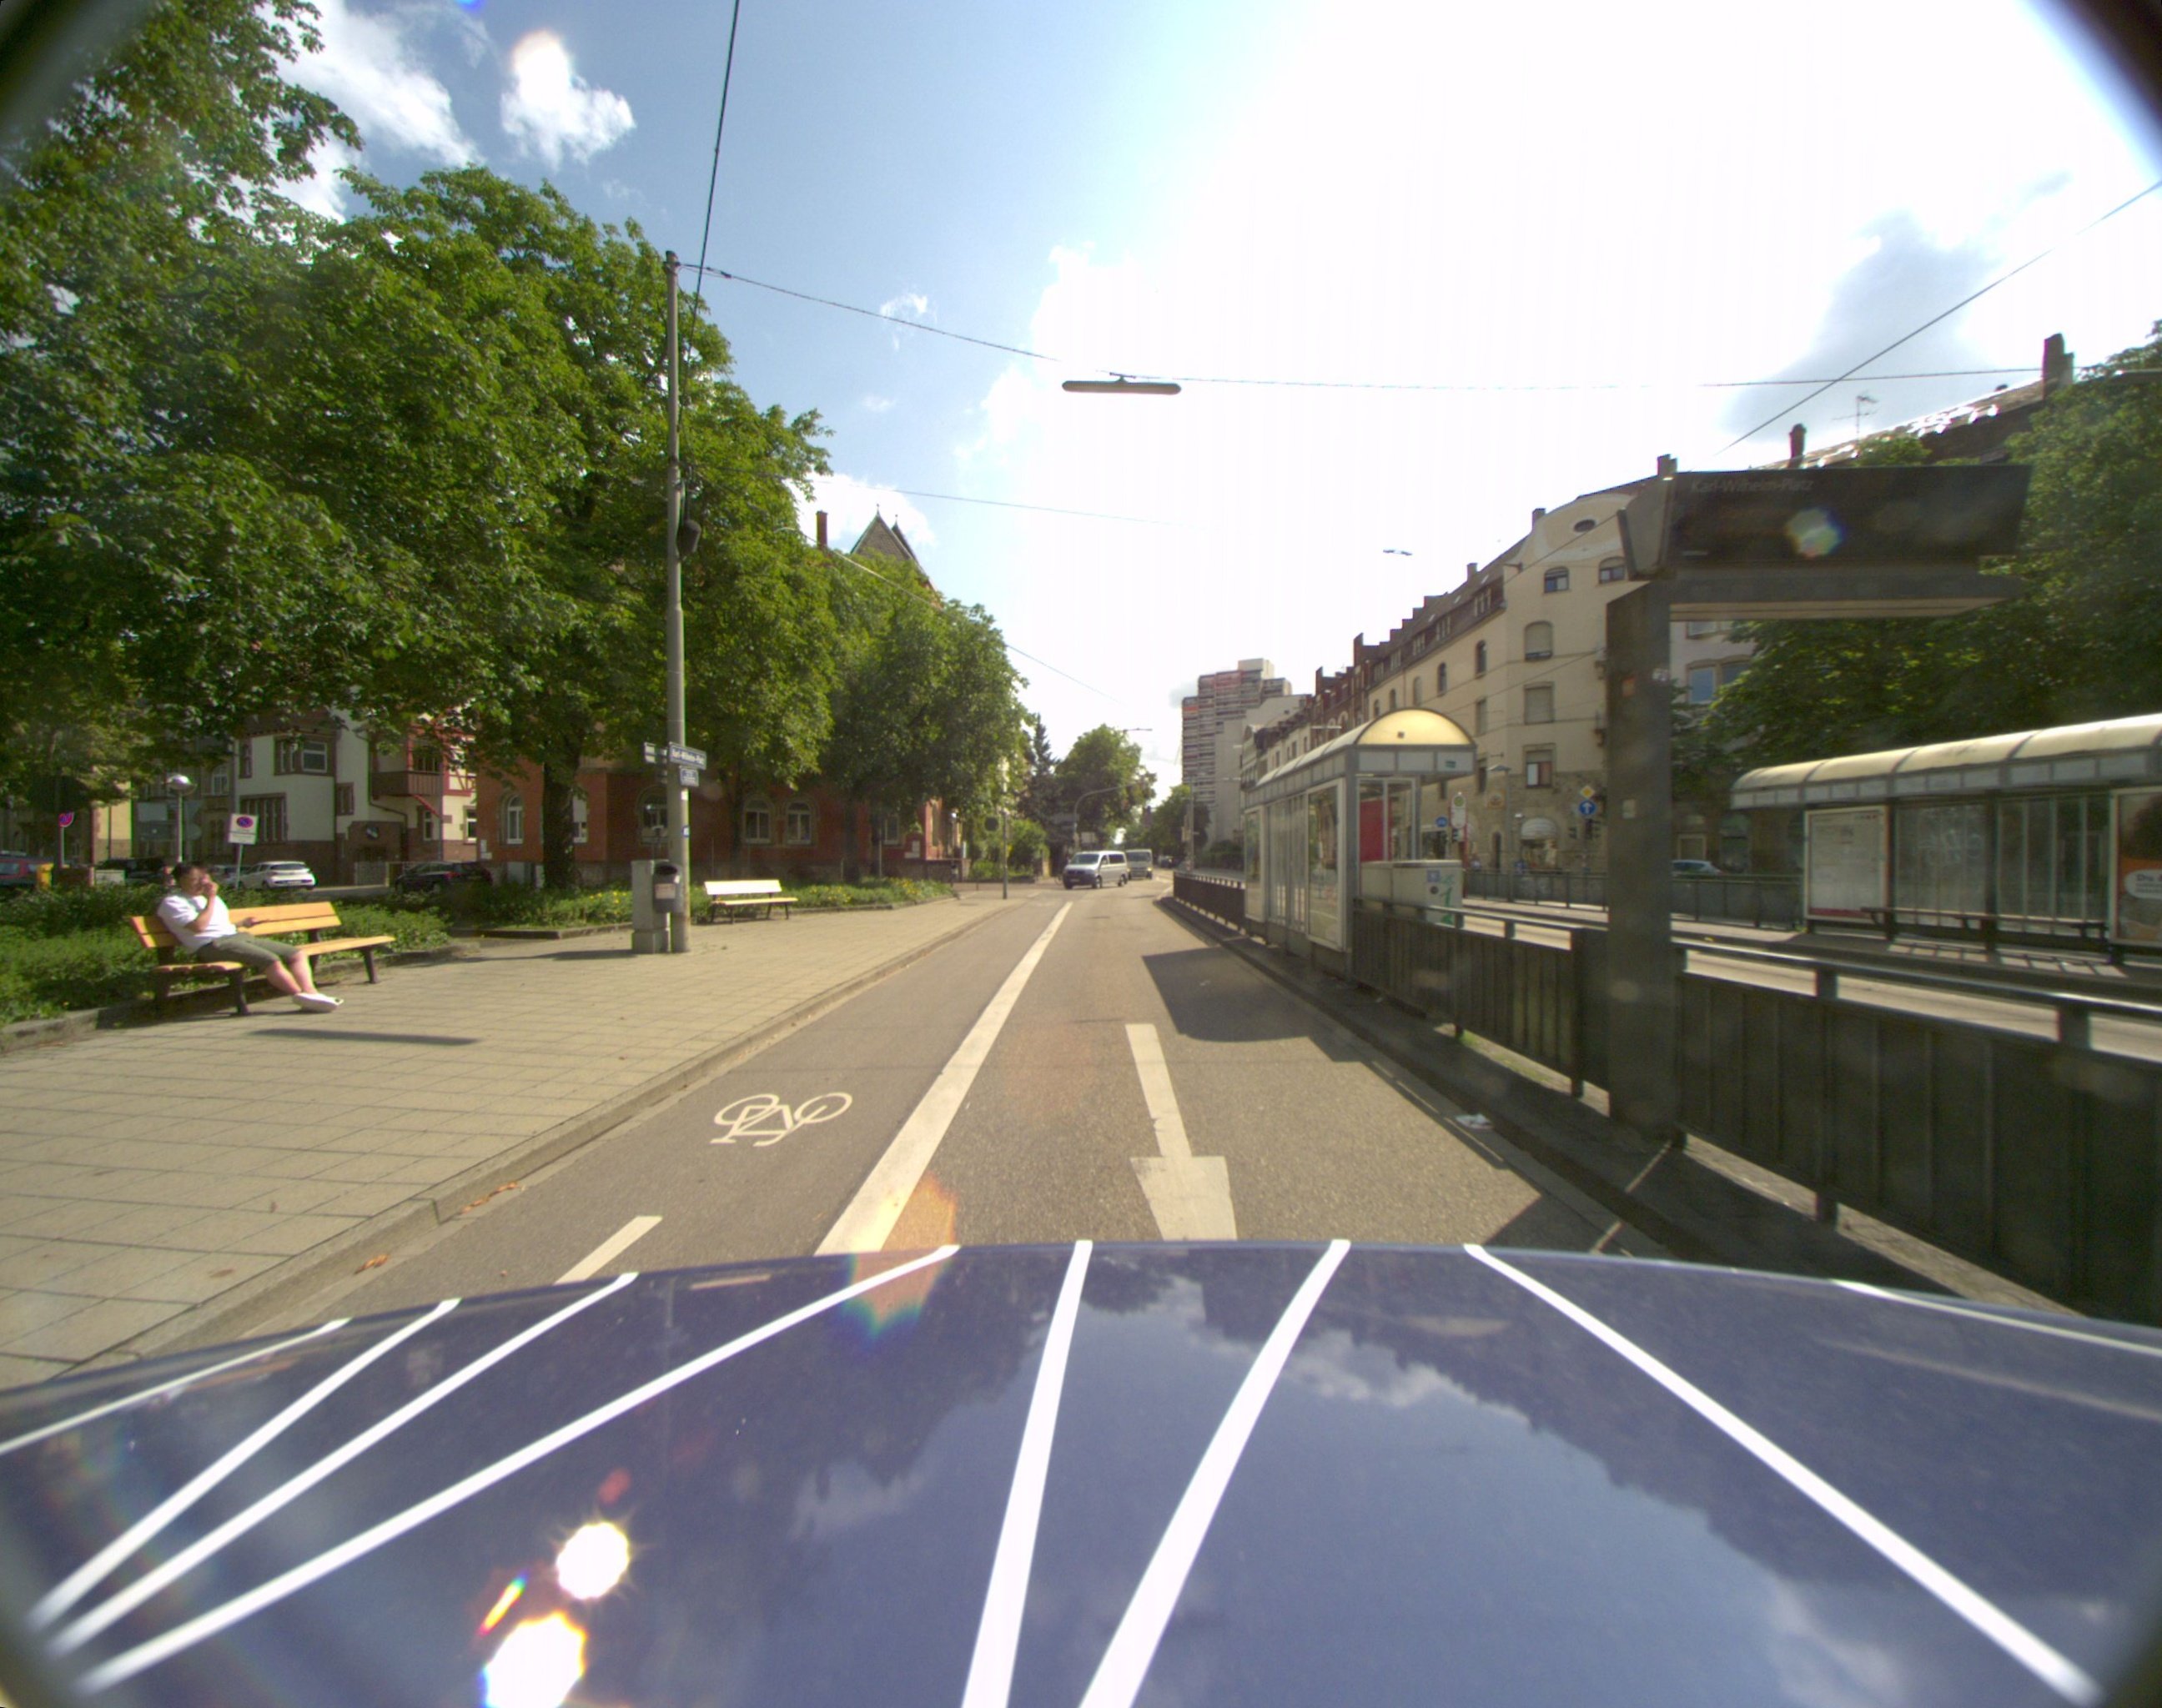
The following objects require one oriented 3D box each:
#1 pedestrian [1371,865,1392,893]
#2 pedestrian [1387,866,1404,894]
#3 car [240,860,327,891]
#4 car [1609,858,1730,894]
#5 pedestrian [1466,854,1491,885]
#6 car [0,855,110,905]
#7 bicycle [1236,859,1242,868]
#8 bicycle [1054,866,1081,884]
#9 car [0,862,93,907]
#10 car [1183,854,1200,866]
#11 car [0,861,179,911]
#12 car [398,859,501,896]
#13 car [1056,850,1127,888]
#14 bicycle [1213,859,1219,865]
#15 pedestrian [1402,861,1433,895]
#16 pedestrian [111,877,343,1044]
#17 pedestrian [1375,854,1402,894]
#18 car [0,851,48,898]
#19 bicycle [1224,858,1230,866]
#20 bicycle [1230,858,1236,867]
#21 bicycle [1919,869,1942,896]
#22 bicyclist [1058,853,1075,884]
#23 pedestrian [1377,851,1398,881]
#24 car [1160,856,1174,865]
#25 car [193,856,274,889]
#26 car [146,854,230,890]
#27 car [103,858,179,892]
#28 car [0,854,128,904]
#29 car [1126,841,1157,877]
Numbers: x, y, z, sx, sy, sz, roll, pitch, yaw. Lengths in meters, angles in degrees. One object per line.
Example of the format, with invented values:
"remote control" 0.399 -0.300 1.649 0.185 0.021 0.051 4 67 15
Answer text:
"pedestrian" 12.314 1.028 31.143 0.643 1.107 0.443 0 1 -3
"pedestrian" 12.407 1.019 29.956 0.438 1.102 0.423 2 0 -3
"car" -39.804 1.027 37.918 3.989 1.477 1.874 0 0 27
"car" 24.701 0.875 31.971 3.862 1.412 1.725 0 0 45
"pedestrian" 20.440 0.788 39.065 0.695 1.532 0.963 -4 0 2
"car" -39.350 0.922 27.974 1.973 1.783 4.006 0 0 22
"bicycle" 17.706 1.047 85.019 0.524 0.901 2.067 0 2 9
"bicycle" -0.776 1.214 44.722 1.849 1.029 0.389 1 0 -44
"car" -34.803 0.980 24.401 1.559 1.414 3.419 0 0 20
"car" 15.701 0.834 108.411 1.796 1.701 4.332 0 0 1
"car" -32.198 0.968 24.252 1.798 1.433 4.006 0 0 20
"car" -27.092 0.955 32.589 3.989 1.477 1.940 0 0 27
"car" 0.640 0.749 39.914 1.828 1.855 4.854 -1 0 25
"bicycle" 18.110 1.045 101.723 0.587 0.792 1.873 -3 1 6
"pedestrian" 13.079 0.934 29.589 0.828 1.296 0.717 2 0 -3
"pedestrian" -6.938 0.842 6.212 1.195 1.261 0.558 2 0 -3
"pedestrian" 12.357 0.795 30.550 0.730 1.556 0.799 0 1 -3
"car" -43.661 0.794 29.386 1.843 1.849 4.006 0 0 21
"bicycle" 18.335 0.998 95.557 0.587 0.980 1.873 0 1 6
"bicycle" 18.262 0.997 91.062 0.539 1.024 1.873 0 1 6
"bicycle" 31.764 1.047 28.429 2.035 0.877 0.545 -2 2 -42
"bicyclist" -0.843 0.819 44.666 0.736 1.809 0.819 0 0 -21
"pedestrian" 18.083 0.709 44.847 0.758 1.694 0.874 -4 0 1
"car" 12.536 0.937 110.773 1.629 1.379 3.436 1 0 0
"car" -44.340 0.933 39.747 3.990 1.696 1.728 0 0 25
"car" -48.804 0.960 41.525 3.990 1.892 1.782 0 0 22
"car" -53.915 1.173 43.589 3.659 1.827 1.729 0 0 22
"car" -36.947 0.857 26.562 1.848 1.674 4.133 0 0 20
"car" 4.500 0.354 57.157 2.167 2.572 5.665 0 0 3
